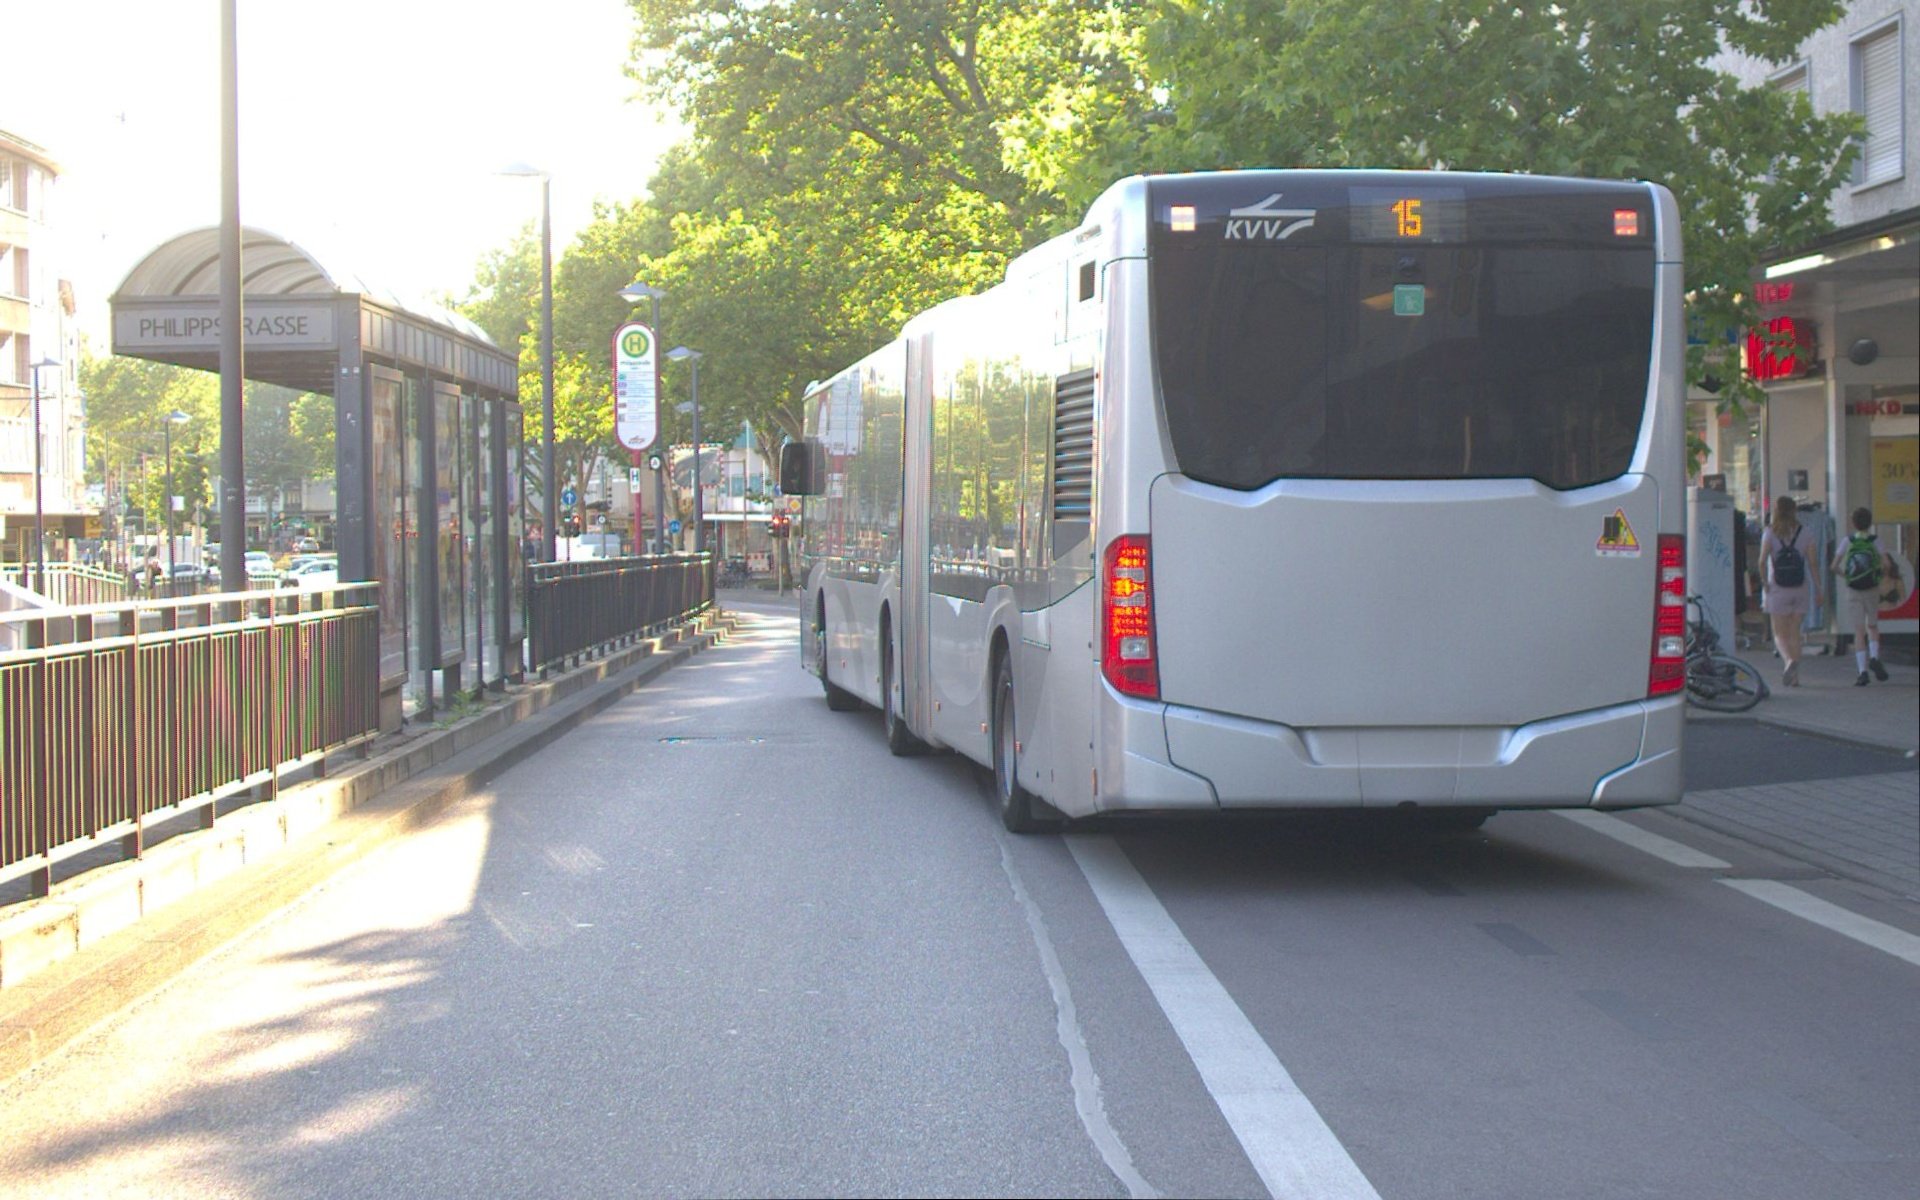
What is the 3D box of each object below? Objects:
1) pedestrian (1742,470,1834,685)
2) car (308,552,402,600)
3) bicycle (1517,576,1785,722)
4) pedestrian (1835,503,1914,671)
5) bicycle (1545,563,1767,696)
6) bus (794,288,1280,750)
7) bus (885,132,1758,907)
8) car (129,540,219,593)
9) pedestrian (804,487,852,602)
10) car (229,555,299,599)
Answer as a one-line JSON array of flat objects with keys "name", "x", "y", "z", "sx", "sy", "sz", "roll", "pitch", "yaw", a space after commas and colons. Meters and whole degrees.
[{"name": "pedestrian", "x": 7.011, "y": -0.198, "z": 29.135, "sx": 0.564, "sy": 1.789, "sz": 0.766, "roll": -1, "pitch": 1, "yaw": -1}, {"name": "car", "x": -26.353, "y": -1.060, "z": 149.848, "sx": 3.986, "sy": 2.007, "sz": 1.963, "roll": -1, "pitch": 1, "yaw": -9}, {"name": "bicycle", "x": 5.247, "y": 0.364, "z": 26.158, "sx": 1.782, "sy": 0.939, "sz": 0.794, "roll": -5, "pitch": 1, "yaw": -5}, {"name": "pedestrian", "x": 7.687, "y": -0.117, "z": 28.918, "sx": 0.475, "sy": 1.390, "sz": 0.611, "roll": -1, "pitch": 1, "yaw": -1}, {"name": "bicycle", "x": 5.543, "y": 0.230, "z": 27.358, "sx": 1.690, "sy": 0.939, "sz": 0.653, "roll": -1, "pitch": -8, "yaw": -36}, {"name": "bus", "x": 0.312, "y": -0.657, "z": 27.803, "sx": 2.696, "sy": 3.107, "sz": 9.072, "roll": 0, "pitch": 1, "yaw": -7}, {"name": "bus", "x": 1.381, "y": -0.436, "z": 18.603, "sx": 2.696, "sy": 3.107, "sz": 9.384, "roll": 0, "pitch": 1, "yaw": -7}, {"name": "car", "x": -25.239, "y": -1.088, "z": 110.538, "sx": 1.993, "sy": 1.645, "sz": 4.000, "roll": -1, "pitch": 1, "yaw": -1}, {"name": "pedestrian", "x": -2.964, "y": -1.254, "z": 77.415, "sx": 0.889, "sy": 2.537, "sz": 1.163, "roll": -1, "pitch": 1, "yaw": 6}, {"name": "car", "x": -27.382, "y": -0.919, "z": 135.379, "sx": 1.993, "sy": 1.645, "sz": 4.000, "roll": -1, "pitch": 1, "yaw": -1}]
